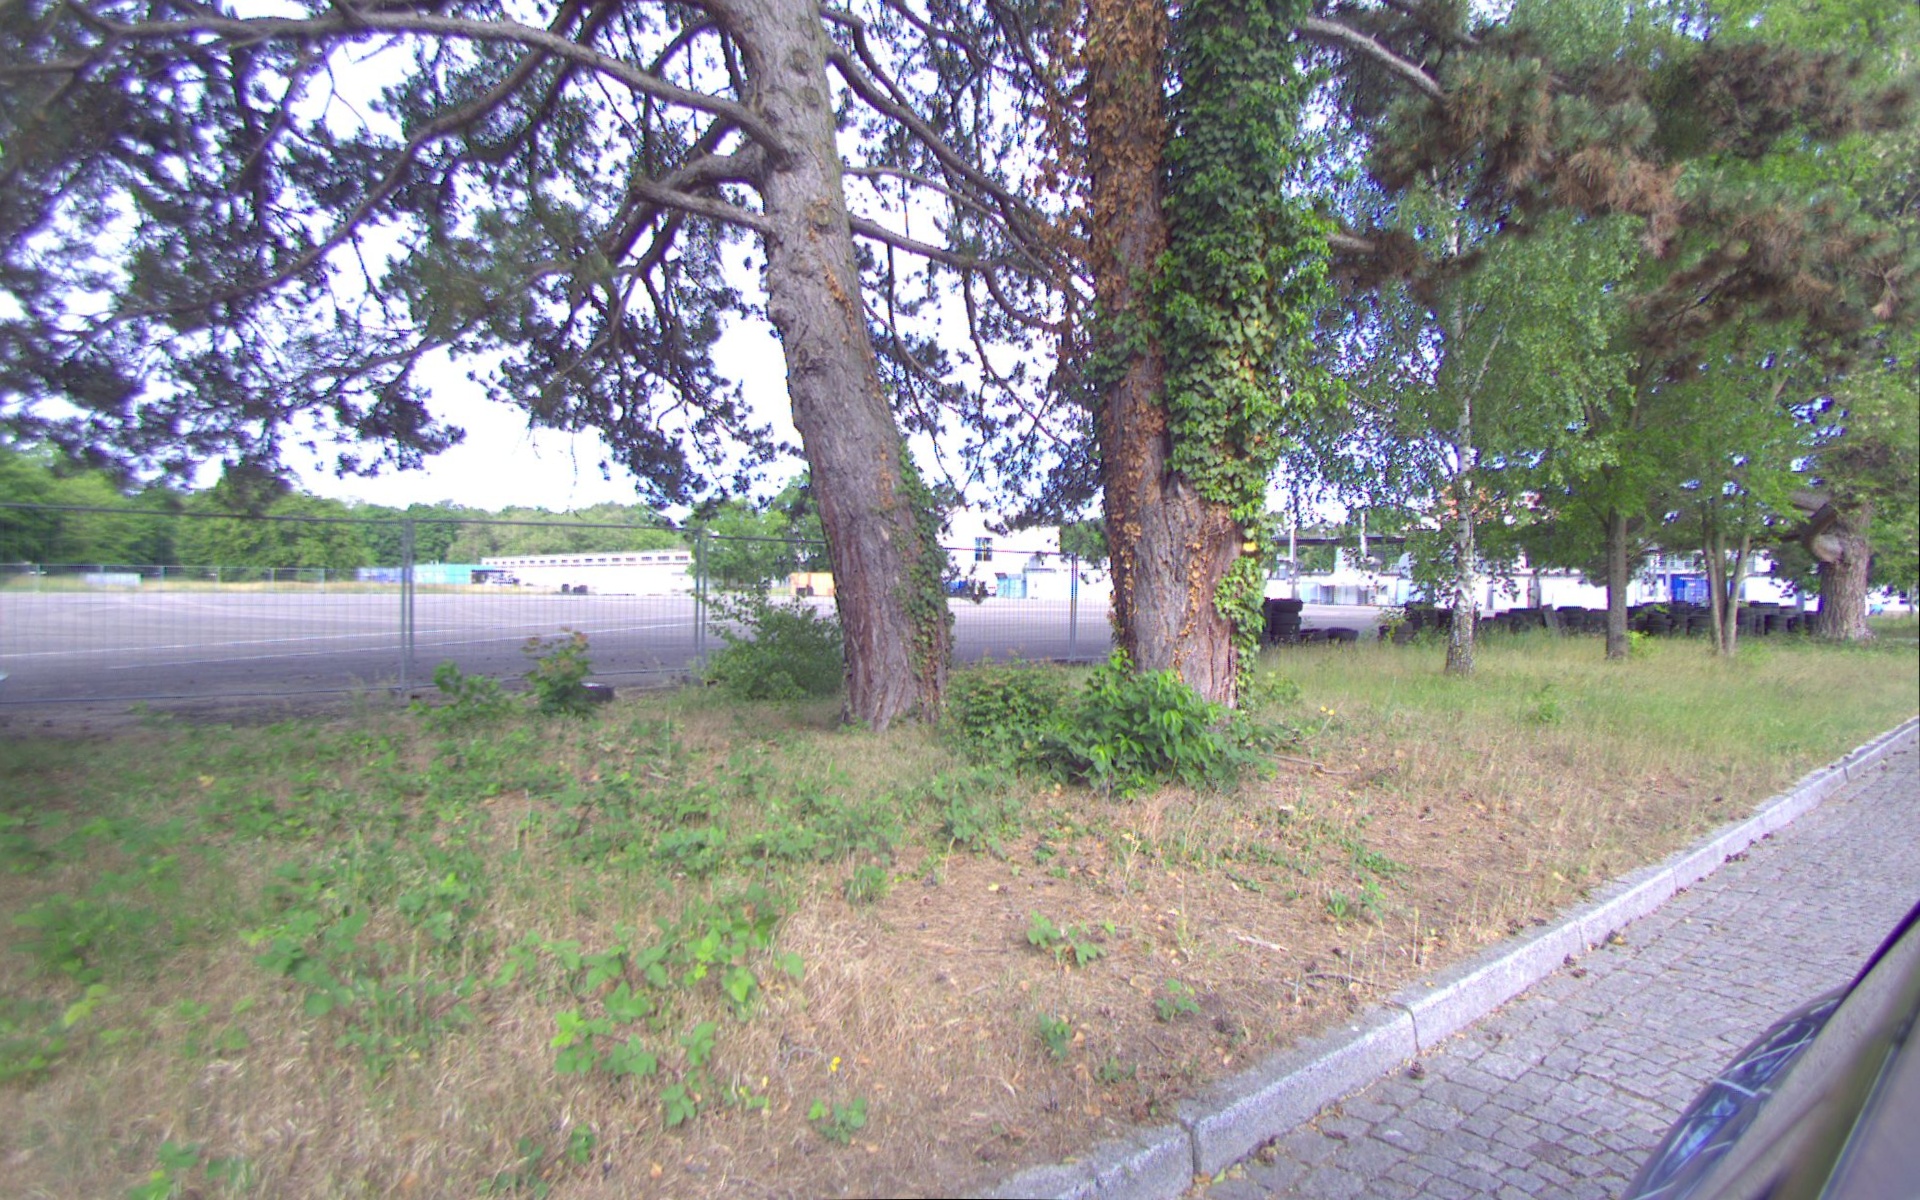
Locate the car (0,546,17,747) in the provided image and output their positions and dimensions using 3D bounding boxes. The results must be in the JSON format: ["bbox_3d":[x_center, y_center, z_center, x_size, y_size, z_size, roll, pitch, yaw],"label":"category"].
[{"bbox_3d":[-8.898,0.361,6.572,4.003,1.445,1.648,0,-2,-42],"label":"car"}]
